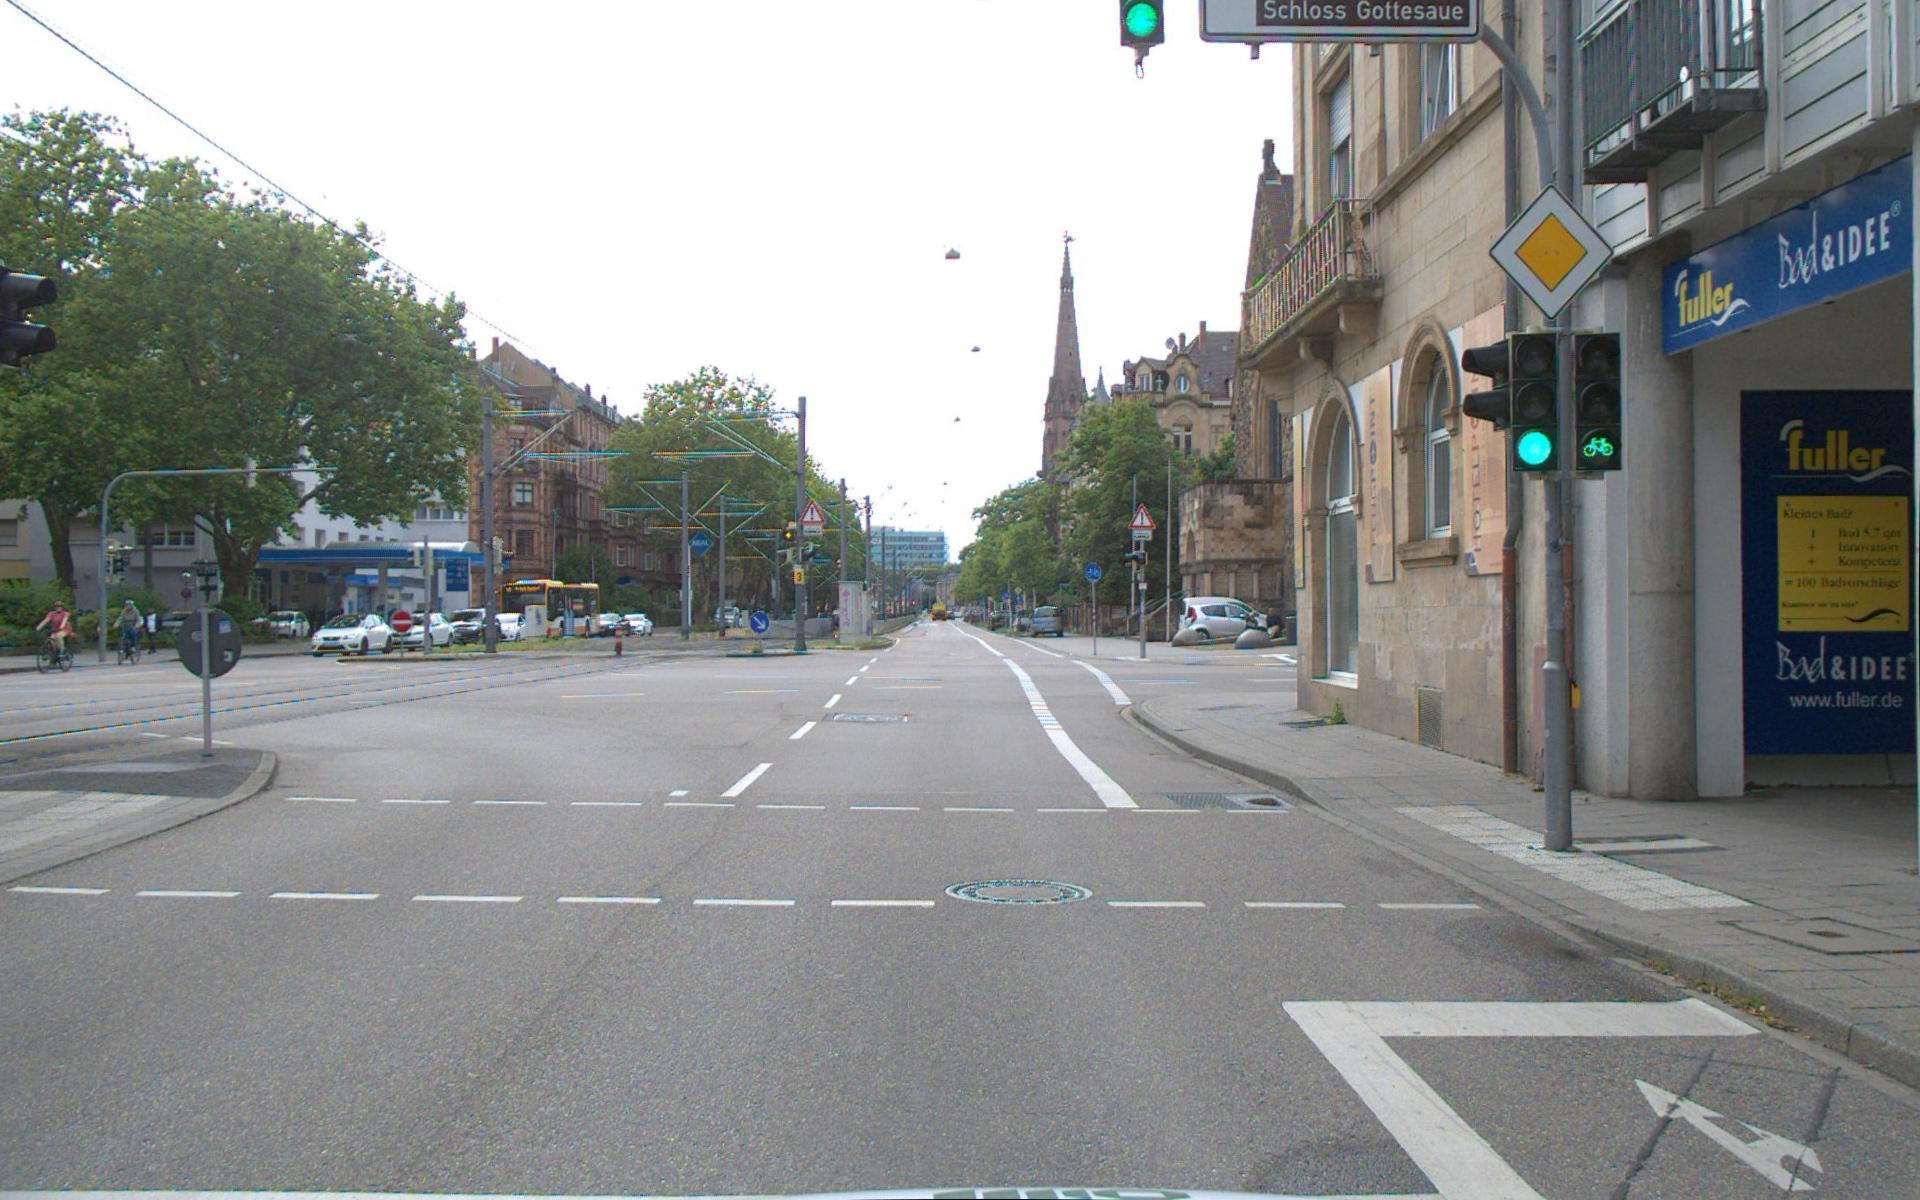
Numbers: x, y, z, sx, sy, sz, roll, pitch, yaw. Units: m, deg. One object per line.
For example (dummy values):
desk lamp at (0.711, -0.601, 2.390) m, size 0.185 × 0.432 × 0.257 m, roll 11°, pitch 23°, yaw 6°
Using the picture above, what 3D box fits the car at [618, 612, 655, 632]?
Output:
car at (-21.350, 1.430, 109.164) m, size 1.667 × 1.242 × 3.890 m, roll 1°, pitch 0°, yaw 0°

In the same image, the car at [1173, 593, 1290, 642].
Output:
car at (11.185, 0.723, 68.325) m, size 4.517 × 1.914 × 1.662 m, roll 1°, pitch 0°, yaw -1°

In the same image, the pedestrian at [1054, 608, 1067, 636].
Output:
pedestrian at (6.074, 1.348, 99.694) m, size 0.760 × 1.676 × 0.799 m, roll 1°, pitch -1°, yaw 5°

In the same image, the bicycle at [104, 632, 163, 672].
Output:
bicycle at (-24.224, 1.508, 48.492) m, size 0.712 × 1.083 × 1.992 m, roll -2°, pitch -1°, yaw -1°

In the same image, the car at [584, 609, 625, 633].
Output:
car at (-21.898, 1.286, 101.998) m, size 1.667 × 1.382 × 3.890 m, roll 1°, pitch 0°, yaw 0°

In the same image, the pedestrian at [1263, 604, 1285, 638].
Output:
pedestrian at (11.663, 0.764, 61.439) m, size 0.721 × 1.250 × 1.063 m, roll 1°, pitch 0°, yaw 14°

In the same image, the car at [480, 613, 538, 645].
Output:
car at (-21.505, 1.374, 78.960) m, size 1.667 × 1.422 × 3.890 m, roll 1°, pitch 0°, yaw 0°

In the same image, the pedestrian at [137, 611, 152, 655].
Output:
pedestrian at (-28.000, 1.117, 56.775) m, size 0.354 × 1.504 × 0.373 m, roll 0°, pitch 0°, yaw -7°

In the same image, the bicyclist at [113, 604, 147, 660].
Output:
bicyclist at (-24.284, 0.937, 48.409) m, size 0.571 × 1.589 × 0.756 m, roll -2°, pitch 0°, yaw -1°

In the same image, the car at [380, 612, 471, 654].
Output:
car at (-21.212, 1.292, 65.854) m, size 1.803 × 1.552 × 5.701 m, roll 1°, pitch 0°, yaw -1°

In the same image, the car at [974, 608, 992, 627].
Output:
car at (2.654, 2.002, 190.794) m, size 1.953 × 2.049 × 3.998 m, roll 1°, pitch 0°, yaw -2°

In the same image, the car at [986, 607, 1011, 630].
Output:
car at (3.164, 1.519, 136.115) m, size 1.953 × 1.852 × 3.999 m, roll 0°, pitch 0°, yaw -1°

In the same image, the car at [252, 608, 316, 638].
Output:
car at (-32.826, 1.119, 80.402) m, size 1.667 × 1.382 × 3.403 m, roll 1°, pitch 0°, yaw 0°

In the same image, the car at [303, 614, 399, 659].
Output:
car at (-21.592, 1.270, 58.778) m, size 1.804 × 1.473 × 4.412 m, roll 1°, pitch 0°, yaw -1°

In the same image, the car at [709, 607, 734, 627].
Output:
car at (-21.474, 1.496, 148.837) m, size 1.667 × 1.742 × 3.890 m, roll 1°, pitch 0°, yaw 0°

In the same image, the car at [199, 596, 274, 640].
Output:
car at (-35.206, 0.854, 80.620) m, size 1.953 × 2.049 × 3.999 m, roll -1°, pitch 0°, yaw -1°

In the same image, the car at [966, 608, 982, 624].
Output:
car at (1.885, 2.161, 218.185) m, size 1.953 × 2.049 × 3.998 m, roll 1°, pitch 0°, yaw -2°

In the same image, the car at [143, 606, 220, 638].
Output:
car at (-37.956, 1.059, 80.743) m, size 1.953 × 1.492 × 3.999 m, roll 0°, pitch 0°, yaw -1°

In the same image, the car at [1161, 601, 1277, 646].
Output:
car at (10.145, 0.900, 64.893) m, size 4.260 × 1.665 × 1.662 m, roll 1°, pitch 0°, yaw -1°

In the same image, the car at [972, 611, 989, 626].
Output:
car at (2.631, 2.348, 210.489) m, size 1.953 × 1.959 × 3.998 m, roll 1°, pitch 0°, yaw -2°

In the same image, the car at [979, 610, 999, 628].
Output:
car at (3.031, 1.971, 172.338) m, size 1.953 × 1.915 × 3.999 m, roll 0°, pitch 0°, yaw -1°

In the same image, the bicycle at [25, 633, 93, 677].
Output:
bicycle at (-23.564, 1.430, 43.286) m, size 0.712 × 1.083 × 1.992 m, roll -2°, pitch -1°, yaw -1°

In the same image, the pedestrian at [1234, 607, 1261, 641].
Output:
pedestrian at (10.611, 0.879, 61.019) m, size 0.721 × 1.212 × 1.493 m, roll 1°, pitch 0°, yaw -1°

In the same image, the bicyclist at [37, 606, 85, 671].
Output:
bicyclist at (-23.596, 1.005, 43.439) m, size 0.691 × 1.666 × 0.994 m, roll -2°, pitch 0°, yaw -2°

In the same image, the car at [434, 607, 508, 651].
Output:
car at (-21.367, 1.241, 72.468) m, size 1.667 × 1.814 × 5.149 m, roll 1°, pitch 0°, yaw 0°

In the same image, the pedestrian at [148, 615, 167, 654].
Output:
pedestrian at (-27.607, 1.185, 56.916) m, size 0.446 × 1.349 × 0.469 m, roll 0°, pitch 0°, yaw -7°
